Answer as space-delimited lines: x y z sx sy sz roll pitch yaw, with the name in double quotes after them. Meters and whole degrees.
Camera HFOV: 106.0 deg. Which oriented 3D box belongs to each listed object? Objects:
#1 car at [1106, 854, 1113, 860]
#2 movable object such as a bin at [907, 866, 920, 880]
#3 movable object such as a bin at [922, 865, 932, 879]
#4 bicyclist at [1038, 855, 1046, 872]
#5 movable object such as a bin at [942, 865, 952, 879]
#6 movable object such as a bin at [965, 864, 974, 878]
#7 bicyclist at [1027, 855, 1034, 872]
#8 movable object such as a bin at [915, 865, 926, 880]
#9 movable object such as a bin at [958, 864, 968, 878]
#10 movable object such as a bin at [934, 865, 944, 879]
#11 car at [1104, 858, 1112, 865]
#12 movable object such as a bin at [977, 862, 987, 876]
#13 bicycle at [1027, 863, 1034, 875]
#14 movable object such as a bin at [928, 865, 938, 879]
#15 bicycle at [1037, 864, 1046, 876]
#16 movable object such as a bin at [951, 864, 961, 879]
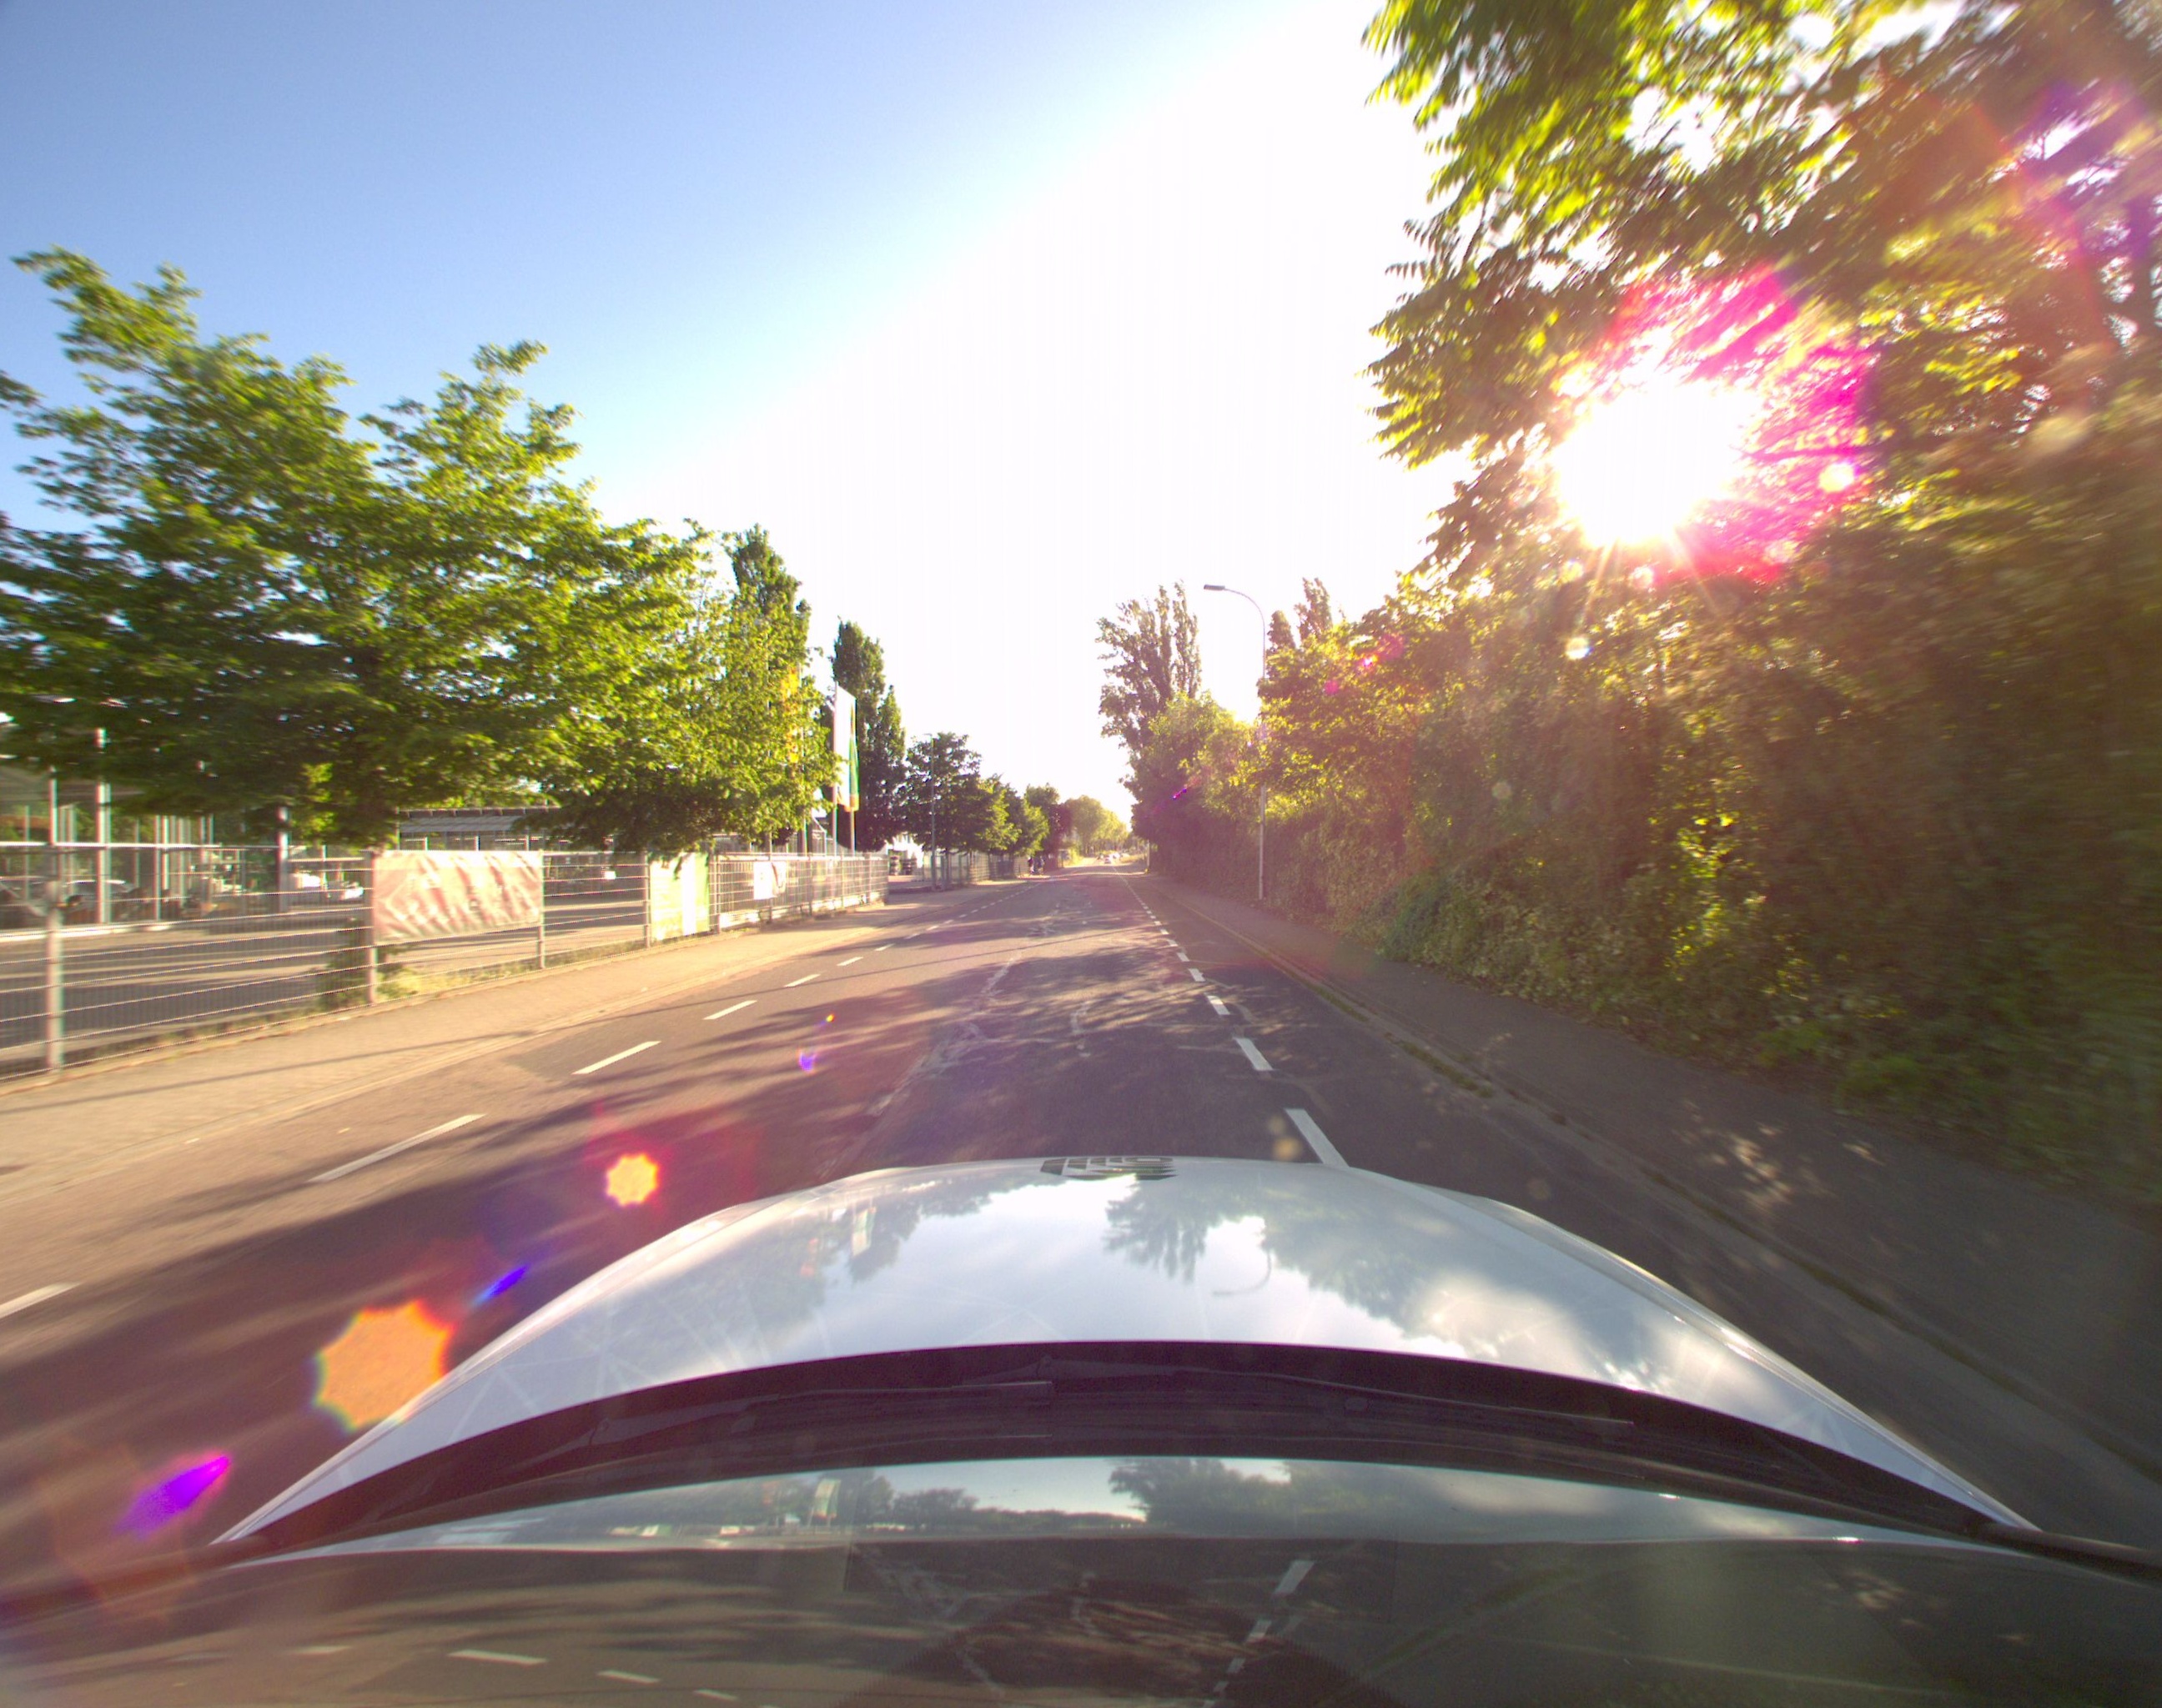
8.474 0.976 243.472 1.935 1.651 4.311 0 0 2 "car"
-13.202 1.471 64.069 0.616 1.076 1.570 -1 0 2 "movable object such as a bin"
-12.106 1.438 64.097 0.461 1.076 1.570 -1 0 2 "movable object such as a bin"
-3.549 0.820 73.537 0.687 1.532 0.723 0 0 1 "bicyclist"
-10.539 1.388 63.927 0.461 1.076 1.570 -1 0 2 "movable object such as a bin"
-8.752 1.334 63.853 0.461 1.076 1.570 -1 0 2 "movable object such as a bin"
-4.566 0.854 73.769 0.558 1.534 0.689 0 0 1 "bicyclist"
-12.617 1.453 64.128 0.461 1.076 1.570 -1 0 2 "movable object such as a bin"
-9.258 1.353 64.042 0.461 1.076 1.570 -1 0 2 "movable object such as a bin"
-11.113 1.404 63.875 0.461 1.076 1.570 -1 0 2 "movable object such as a bin"
6.770 1.756 202.394 1.935 1.651 4.311 0 0 2 "car"
-7.749 1.143 63.781 0.461 1.076 1.570 -1 0 2 "movable object such as a bin"
-4.572 1.352 73.846 0.560 1.034 1.351 0 0 2 "bicycle"
-11.620 1.421 63.983 0.461 1.076 1.570 -1 0 2 "movable object such as a bin"
-3.554 1.425 73.576 0.686 1.034 1.351 0 0 2 "bicycle"
-9.802 1.368 63.988 0.461 1.076 1.570 -1 0 2 "movable object such as a bin"
